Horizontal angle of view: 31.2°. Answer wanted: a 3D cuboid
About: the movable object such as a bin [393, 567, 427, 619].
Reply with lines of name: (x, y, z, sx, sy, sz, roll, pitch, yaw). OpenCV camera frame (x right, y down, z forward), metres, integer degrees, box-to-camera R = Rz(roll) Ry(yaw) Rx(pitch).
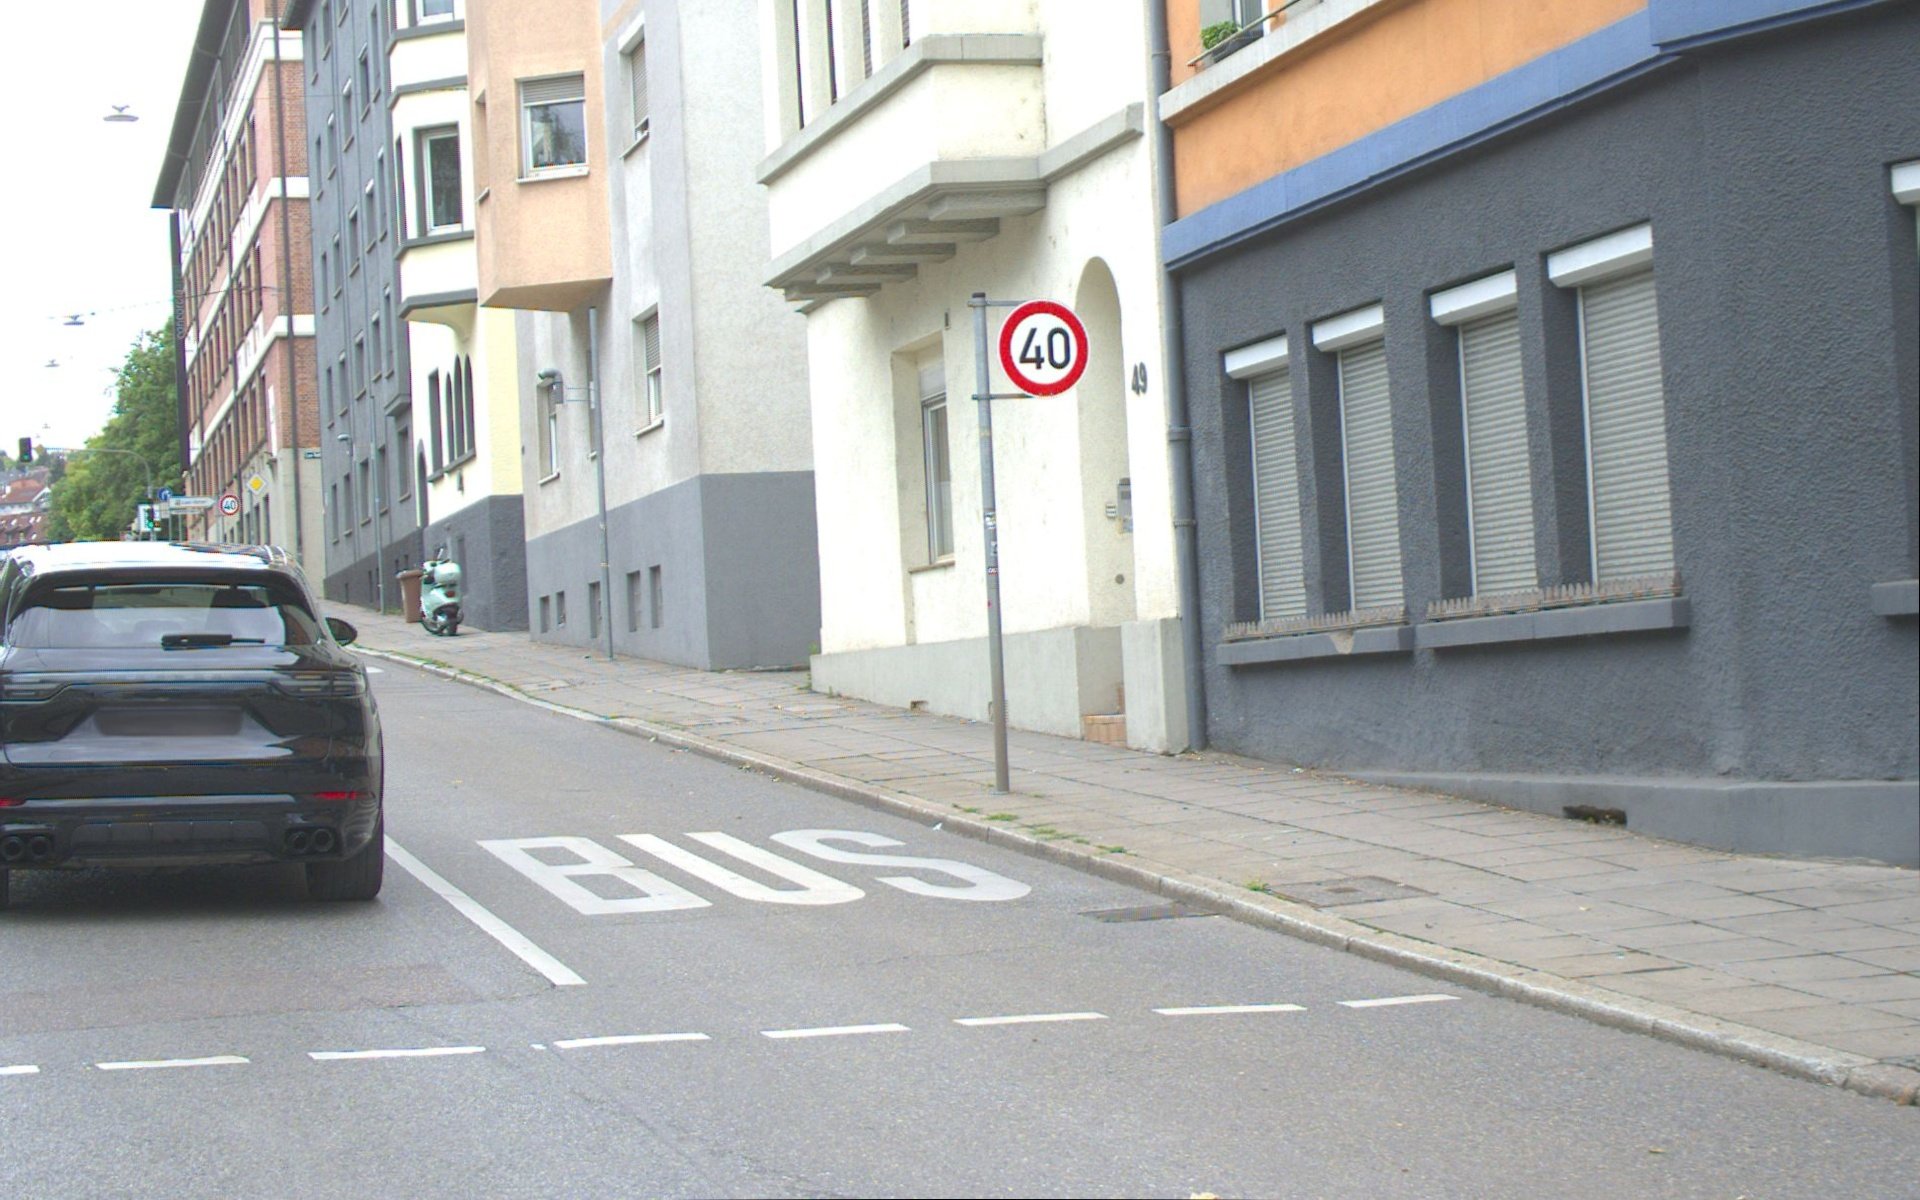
movable object such as a bin: (-9.694, -0.124, 60.593, 0.474, 0.889, 0.517, -5, 2, -16)

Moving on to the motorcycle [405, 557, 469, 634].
motorcycle: (-8.212, -0.080, 53.904, 0.537, 1.152, 2.227, -5, 2, -18)

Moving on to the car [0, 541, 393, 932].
car: (-4.079, 0.568, 16.718, 2.023, 1.636, 4.357, -1, 0, -17)
